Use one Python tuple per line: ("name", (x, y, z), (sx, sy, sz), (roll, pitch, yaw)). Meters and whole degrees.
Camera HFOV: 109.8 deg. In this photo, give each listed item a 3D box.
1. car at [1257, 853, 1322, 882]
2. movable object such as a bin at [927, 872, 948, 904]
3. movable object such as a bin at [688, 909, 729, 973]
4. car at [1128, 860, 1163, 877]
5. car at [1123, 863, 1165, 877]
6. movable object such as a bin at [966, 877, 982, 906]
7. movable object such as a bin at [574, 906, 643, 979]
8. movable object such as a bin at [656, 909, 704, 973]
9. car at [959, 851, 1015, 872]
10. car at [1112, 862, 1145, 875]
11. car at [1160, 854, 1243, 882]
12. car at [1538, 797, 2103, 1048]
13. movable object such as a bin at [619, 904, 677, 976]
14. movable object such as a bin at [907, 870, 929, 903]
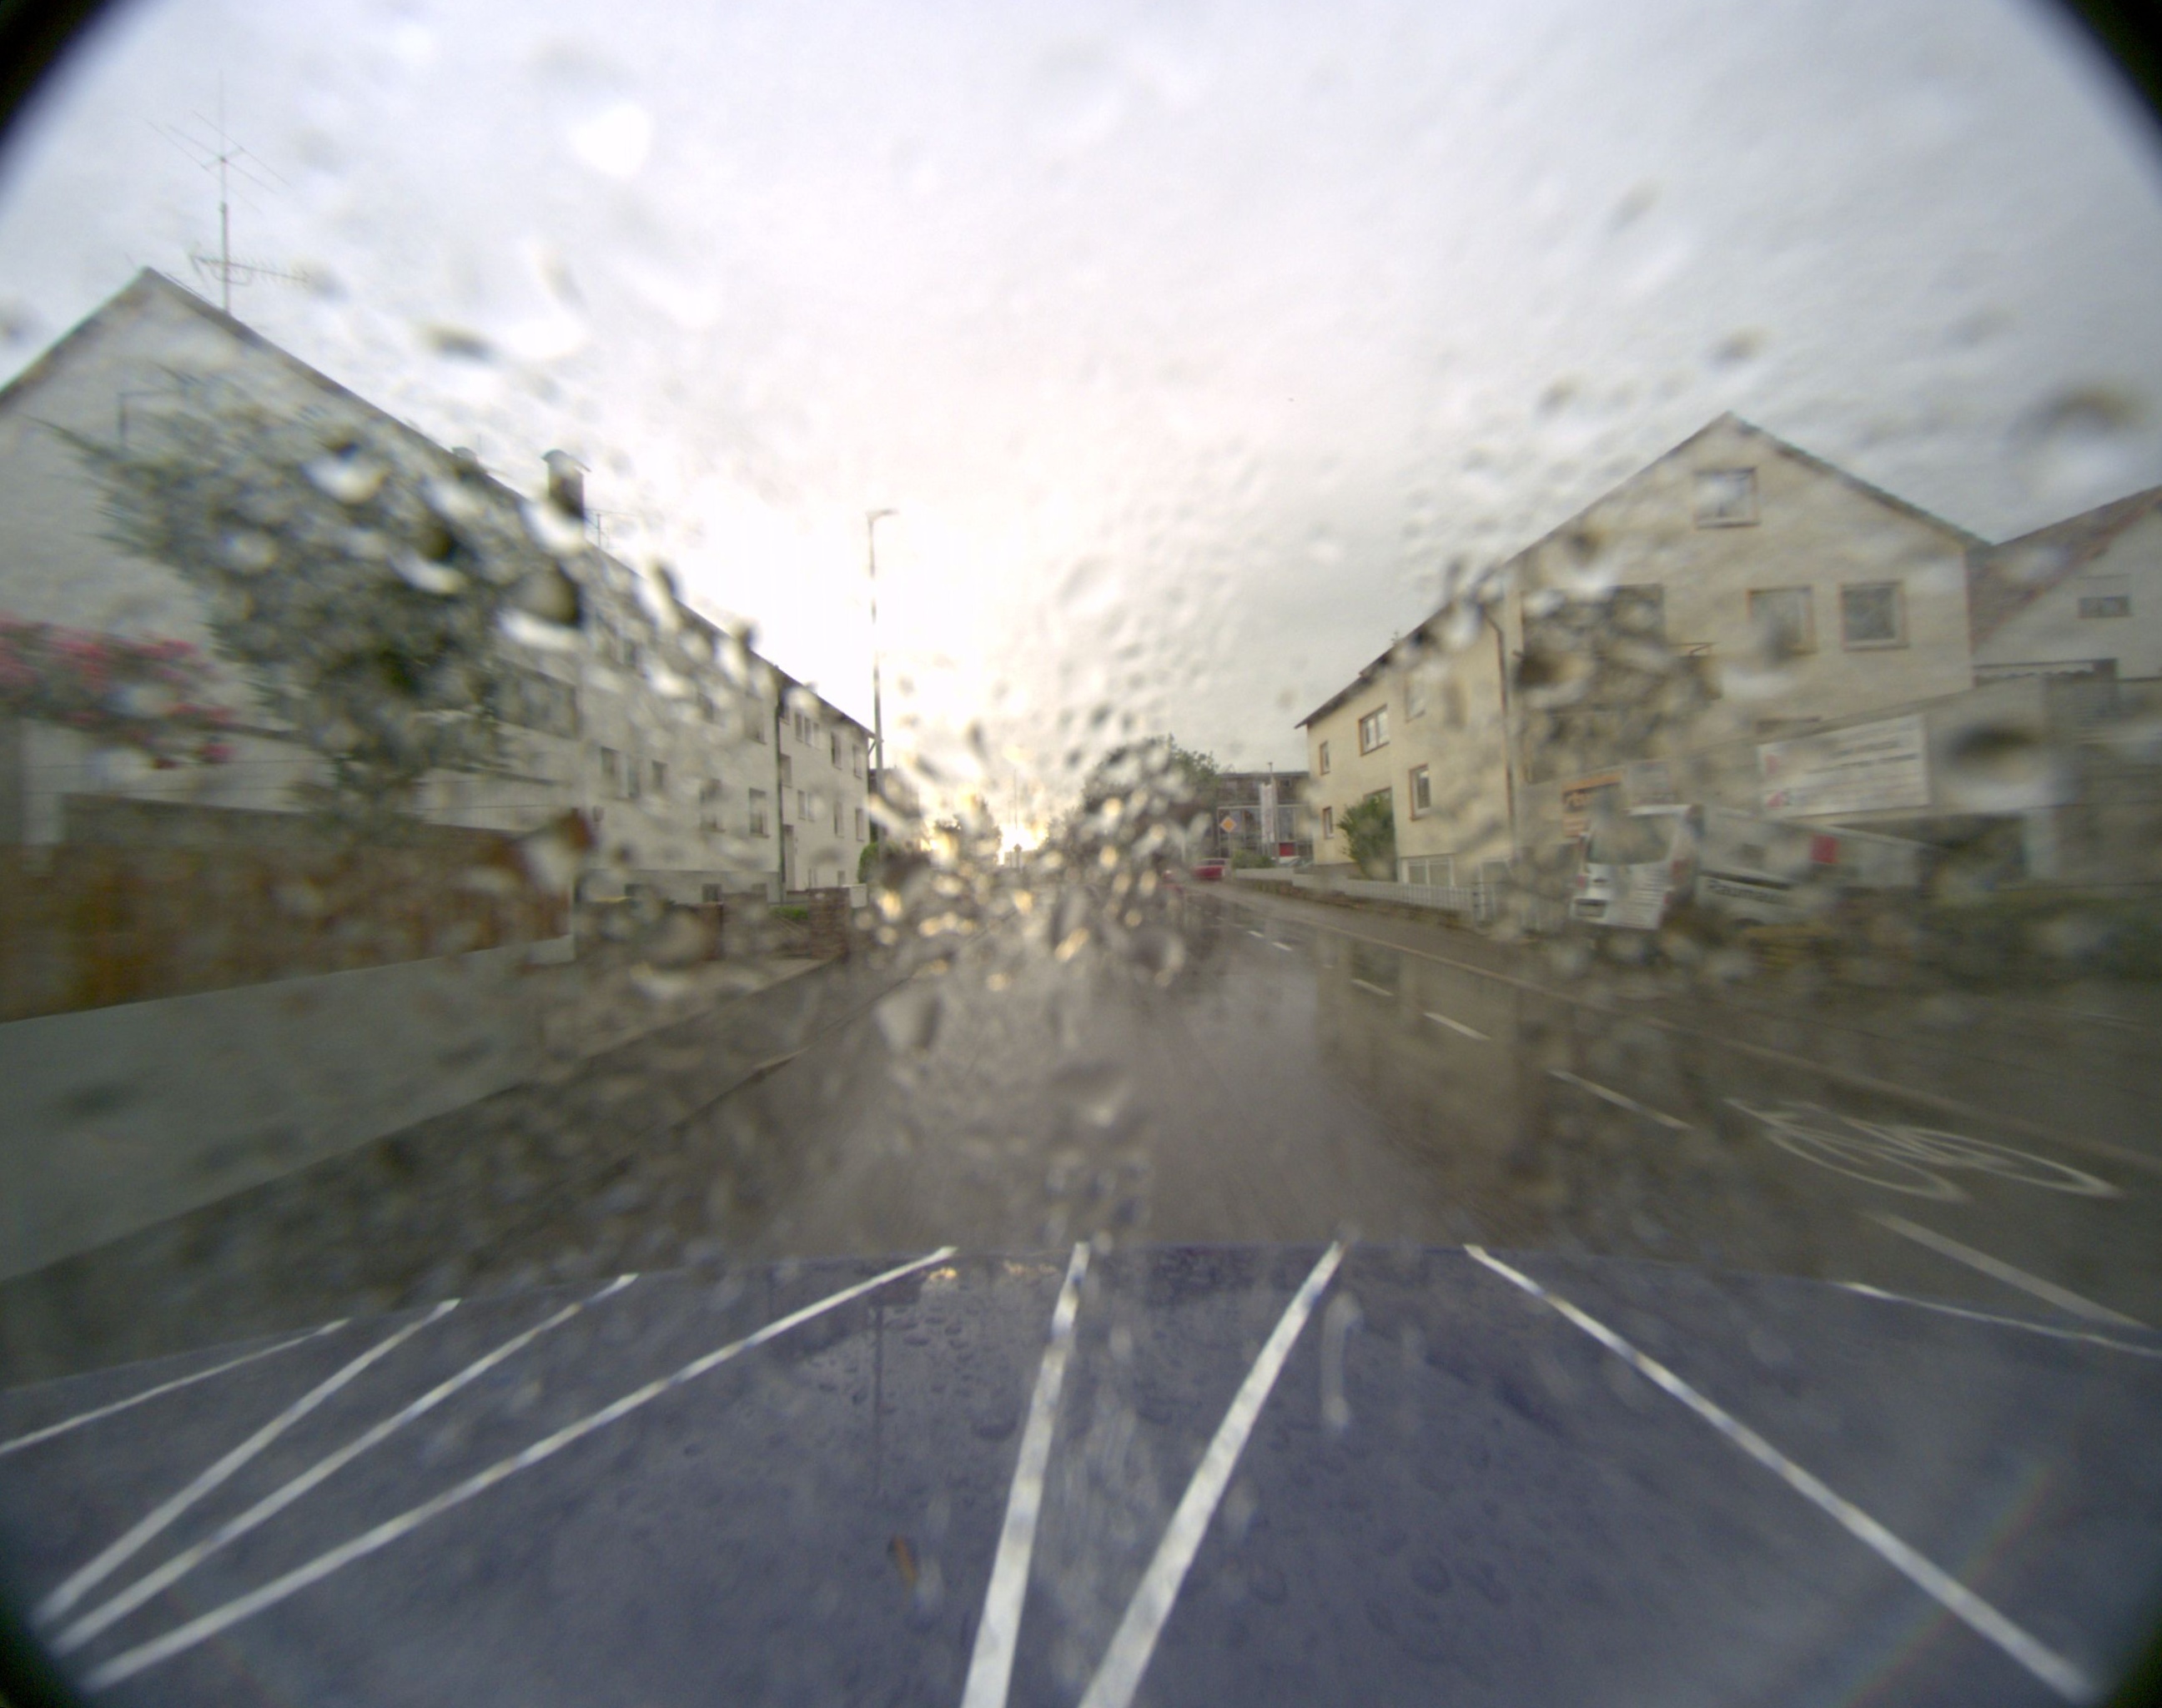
("car", (16.677, 1.083, 60.919), (4.411, 2.001, 2.153), (-4, -3, -10))
("movable object such as a bin", (-4.759, 1.127, 25.212), (0.546, 1.021, 0.632), (-4, -2, -1))
("movable object such as a bin", (-5.904, 1.366, 12.054), (0.406, 0.956, 0.419), (-4, -2, 0))
("car", (5.699, 1.300, 67.371), (2.917, 1.446, 1.252), (-1, 1, -7))
("car", (6.228, 1.643, 75.819), (3.912, 1.276, 1.581), (-1, -1, -7))
("movable object such as a bin", (-3.631, 1.280, 25.829), (0.426, 0.934, 0.508), (-4, -2, -1))
("movable object such as a bin", (-7.450, 1.380, 12.007), (0.651, 1.066, 0.629), (-4, -2, 0))
("movable object such as a bin", (-6.360, 1.367, 12.054), (0.472, 0.956, 0.443), (-4, -2, 0))
("car", (-9.041, 0.727, 72.767), (5.102, 1.908, 2.058), (-2, -1, 30))
("car", (4.494, 1.370, 72.342), (2.917, 1.152, 1.471), (-1, -1, -7))
("car", (7.179, 0.812, 45.648), (4.655, 1.558, 1.874), (-1, -1, -1))
("car", (8.566, 0.781, 9.203), (4.565, 2.001, 2.161), (9, -3, 0))
("movable object such as a bin", (-6.851, 1.342, 12.030), (0.499, 1.066, 0.629), (-4, -2, 0))
("movable object such as a bin", (-5.406, 1.085, 25.199), (0.546, 1.021, 0.632), (-4, -2, -1))
